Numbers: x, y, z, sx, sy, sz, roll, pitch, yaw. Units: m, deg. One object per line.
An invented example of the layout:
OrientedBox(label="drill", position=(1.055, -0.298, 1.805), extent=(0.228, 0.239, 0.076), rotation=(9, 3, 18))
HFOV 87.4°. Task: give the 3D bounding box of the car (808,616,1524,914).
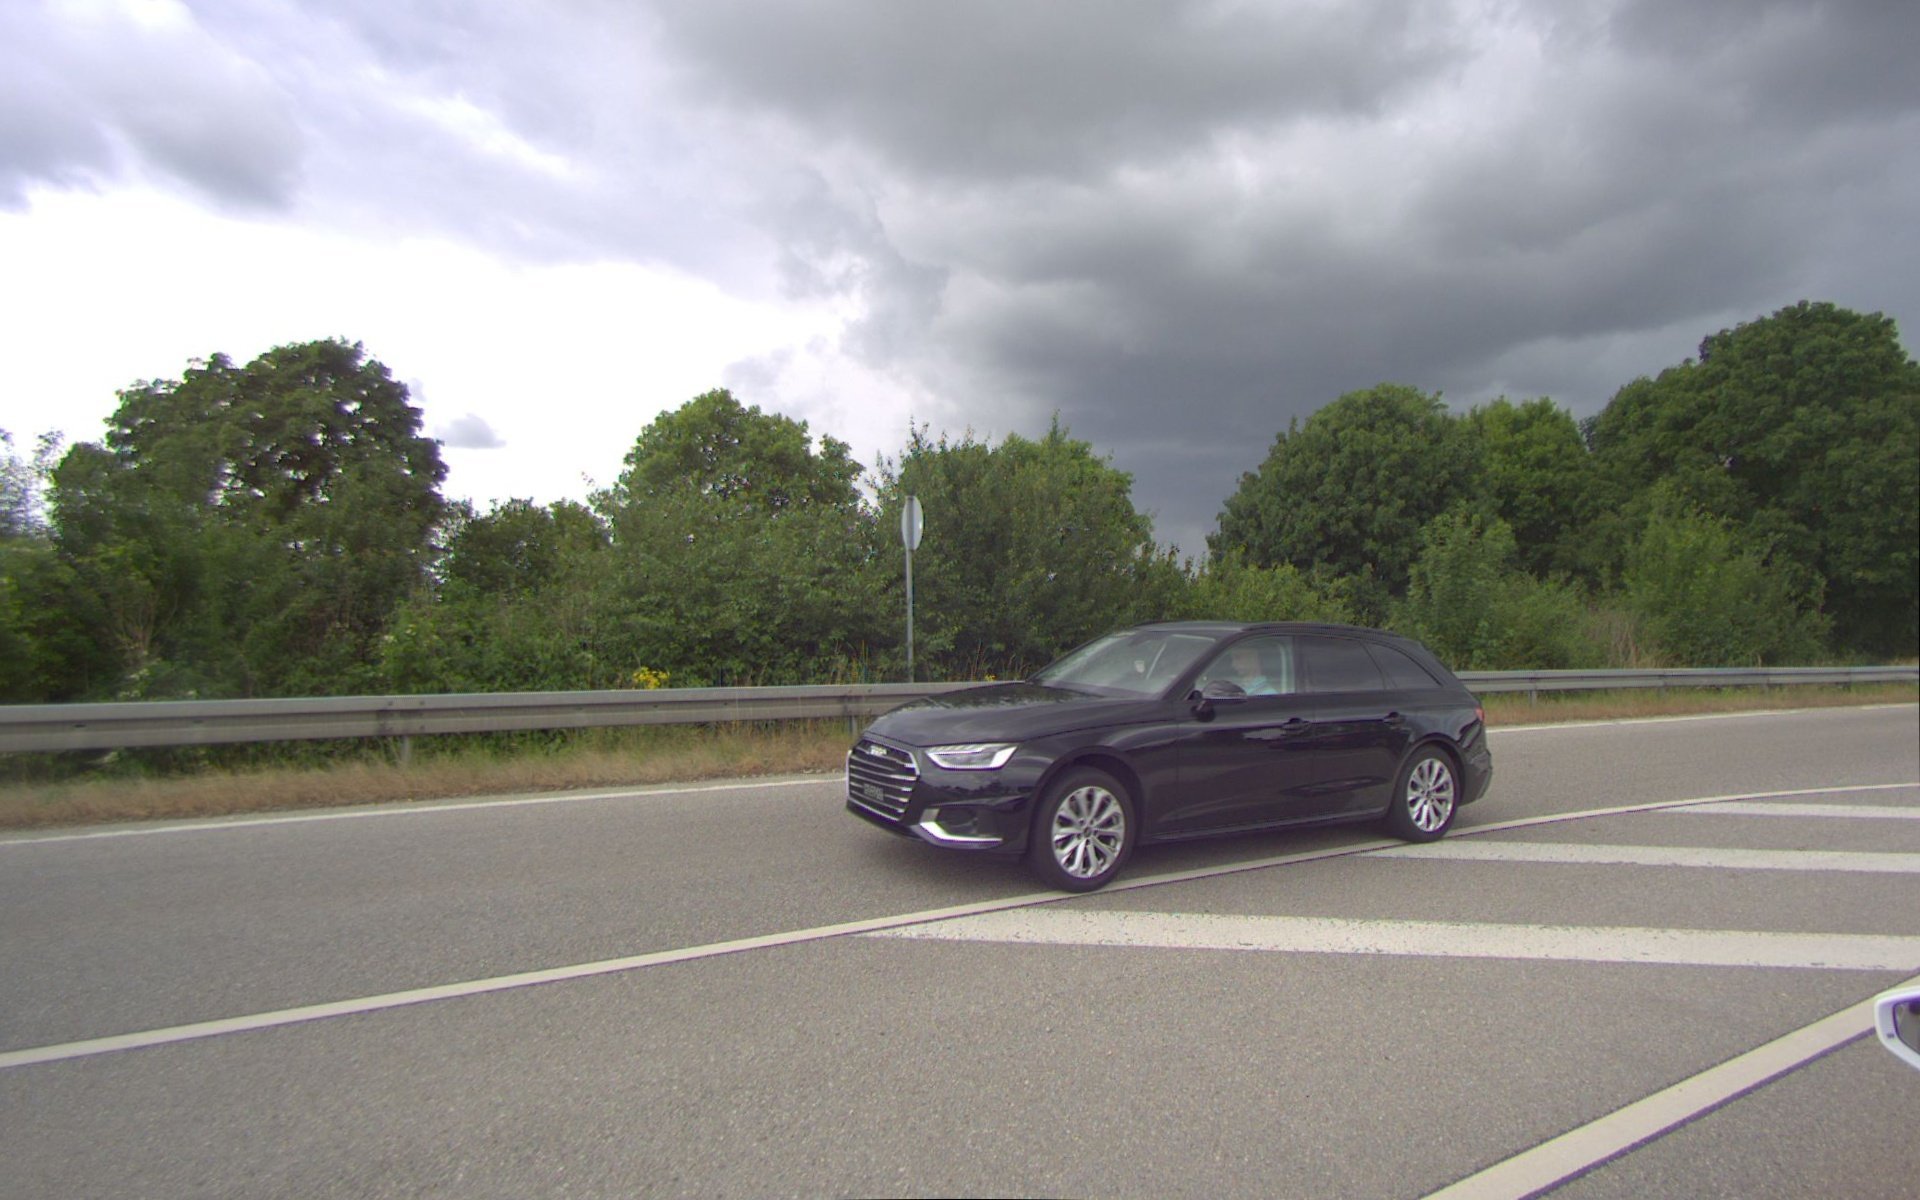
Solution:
OrientedBox(label="car", position=(1.467, 0.849, 6.645), extent=(4.554, 1.392, 1.813), rotation=(2, -1, -28))
